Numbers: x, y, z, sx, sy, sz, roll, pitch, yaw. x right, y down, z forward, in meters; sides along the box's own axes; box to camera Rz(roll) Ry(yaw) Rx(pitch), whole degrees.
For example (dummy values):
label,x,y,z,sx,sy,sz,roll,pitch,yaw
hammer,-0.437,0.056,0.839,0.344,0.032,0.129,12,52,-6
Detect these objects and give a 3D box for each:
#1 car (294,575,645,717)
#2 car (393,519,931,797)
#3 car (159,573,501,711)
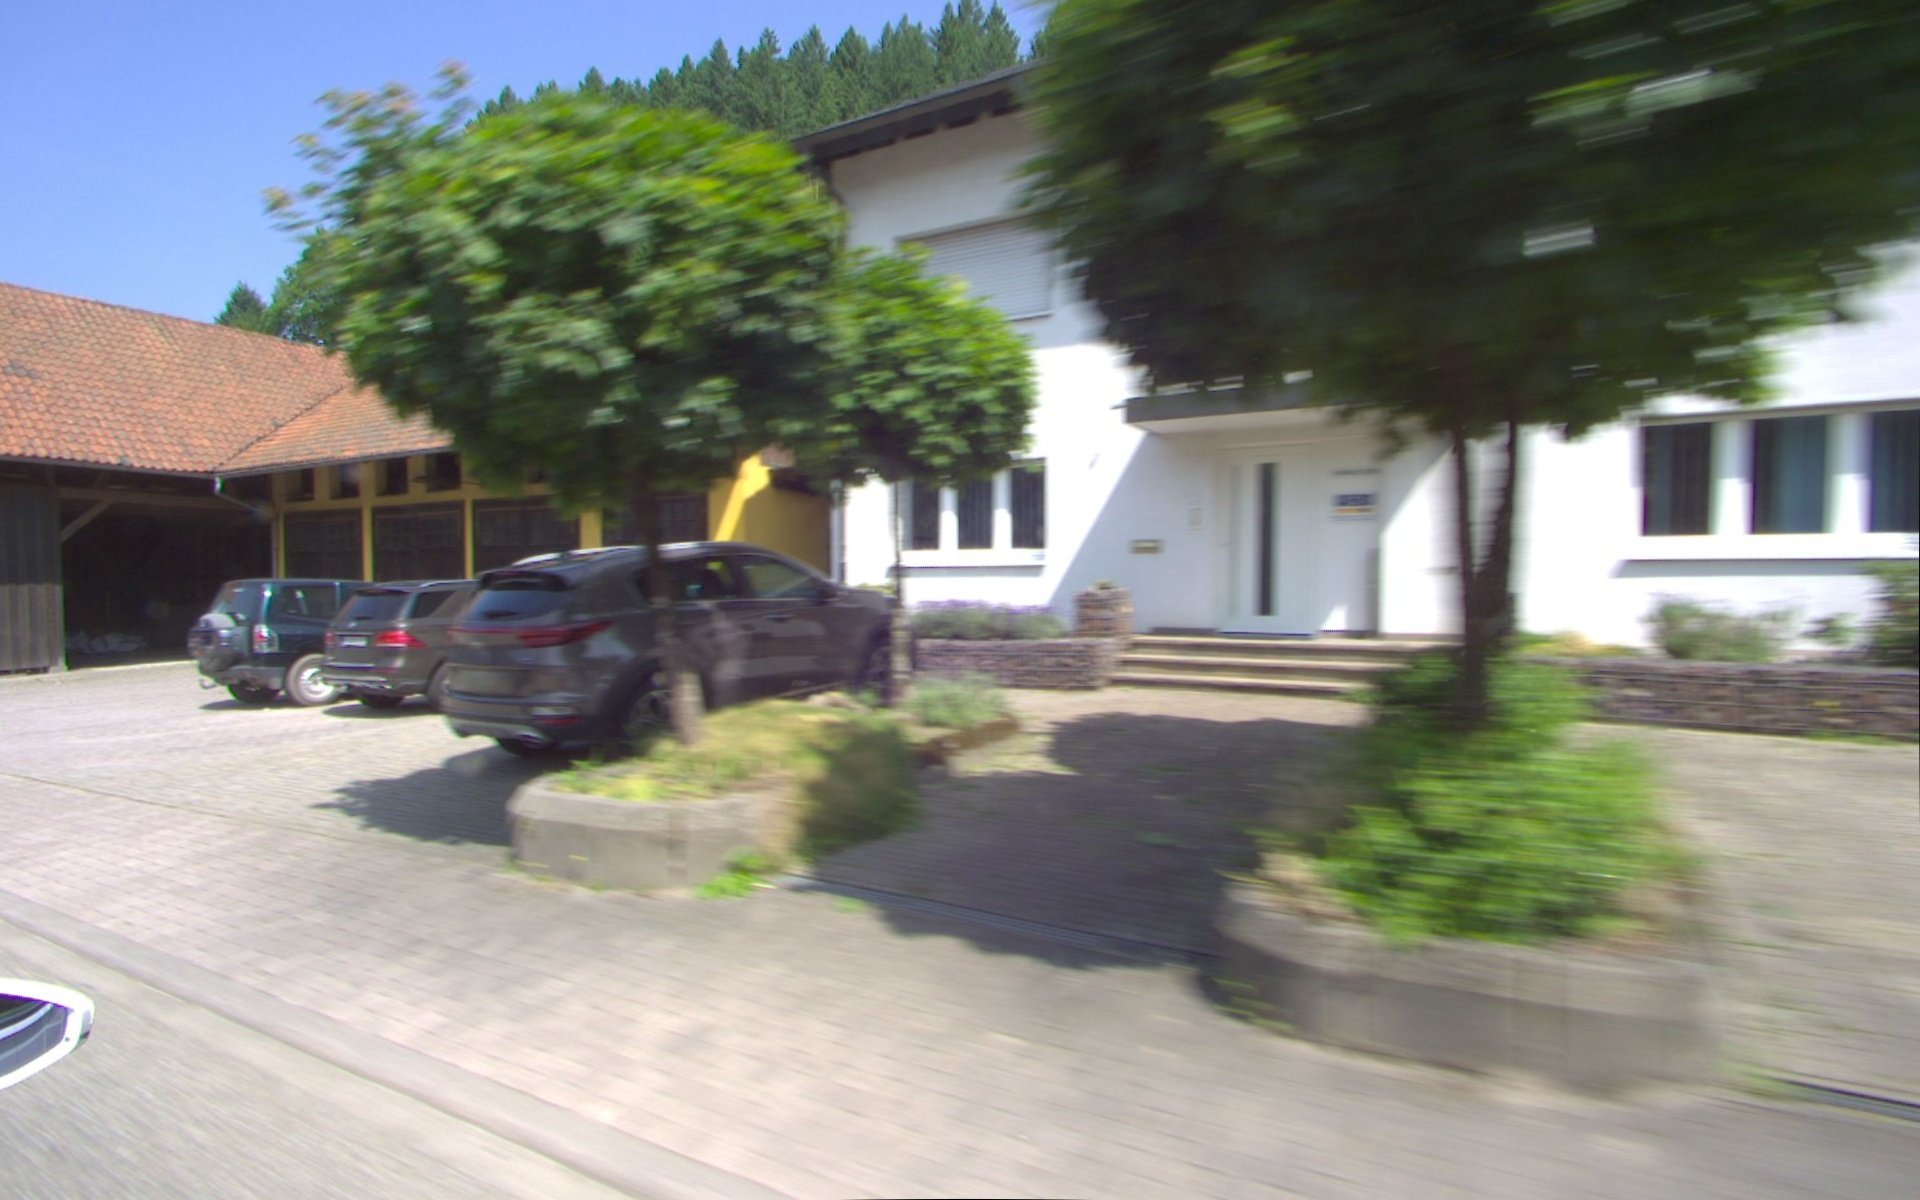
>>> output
label,x,y,z,sx,sy,sz,roll,pitch,yaw
car,-7.029,0.544,14.922,1.921,1.783,4.416,-1,1,26
car,-2.239,0.256,8.681,1.753,1.711,4.204,-1,5,35
car,-9.695,0.540,15.794,1.924,1.857,4.122,-1,1,28
